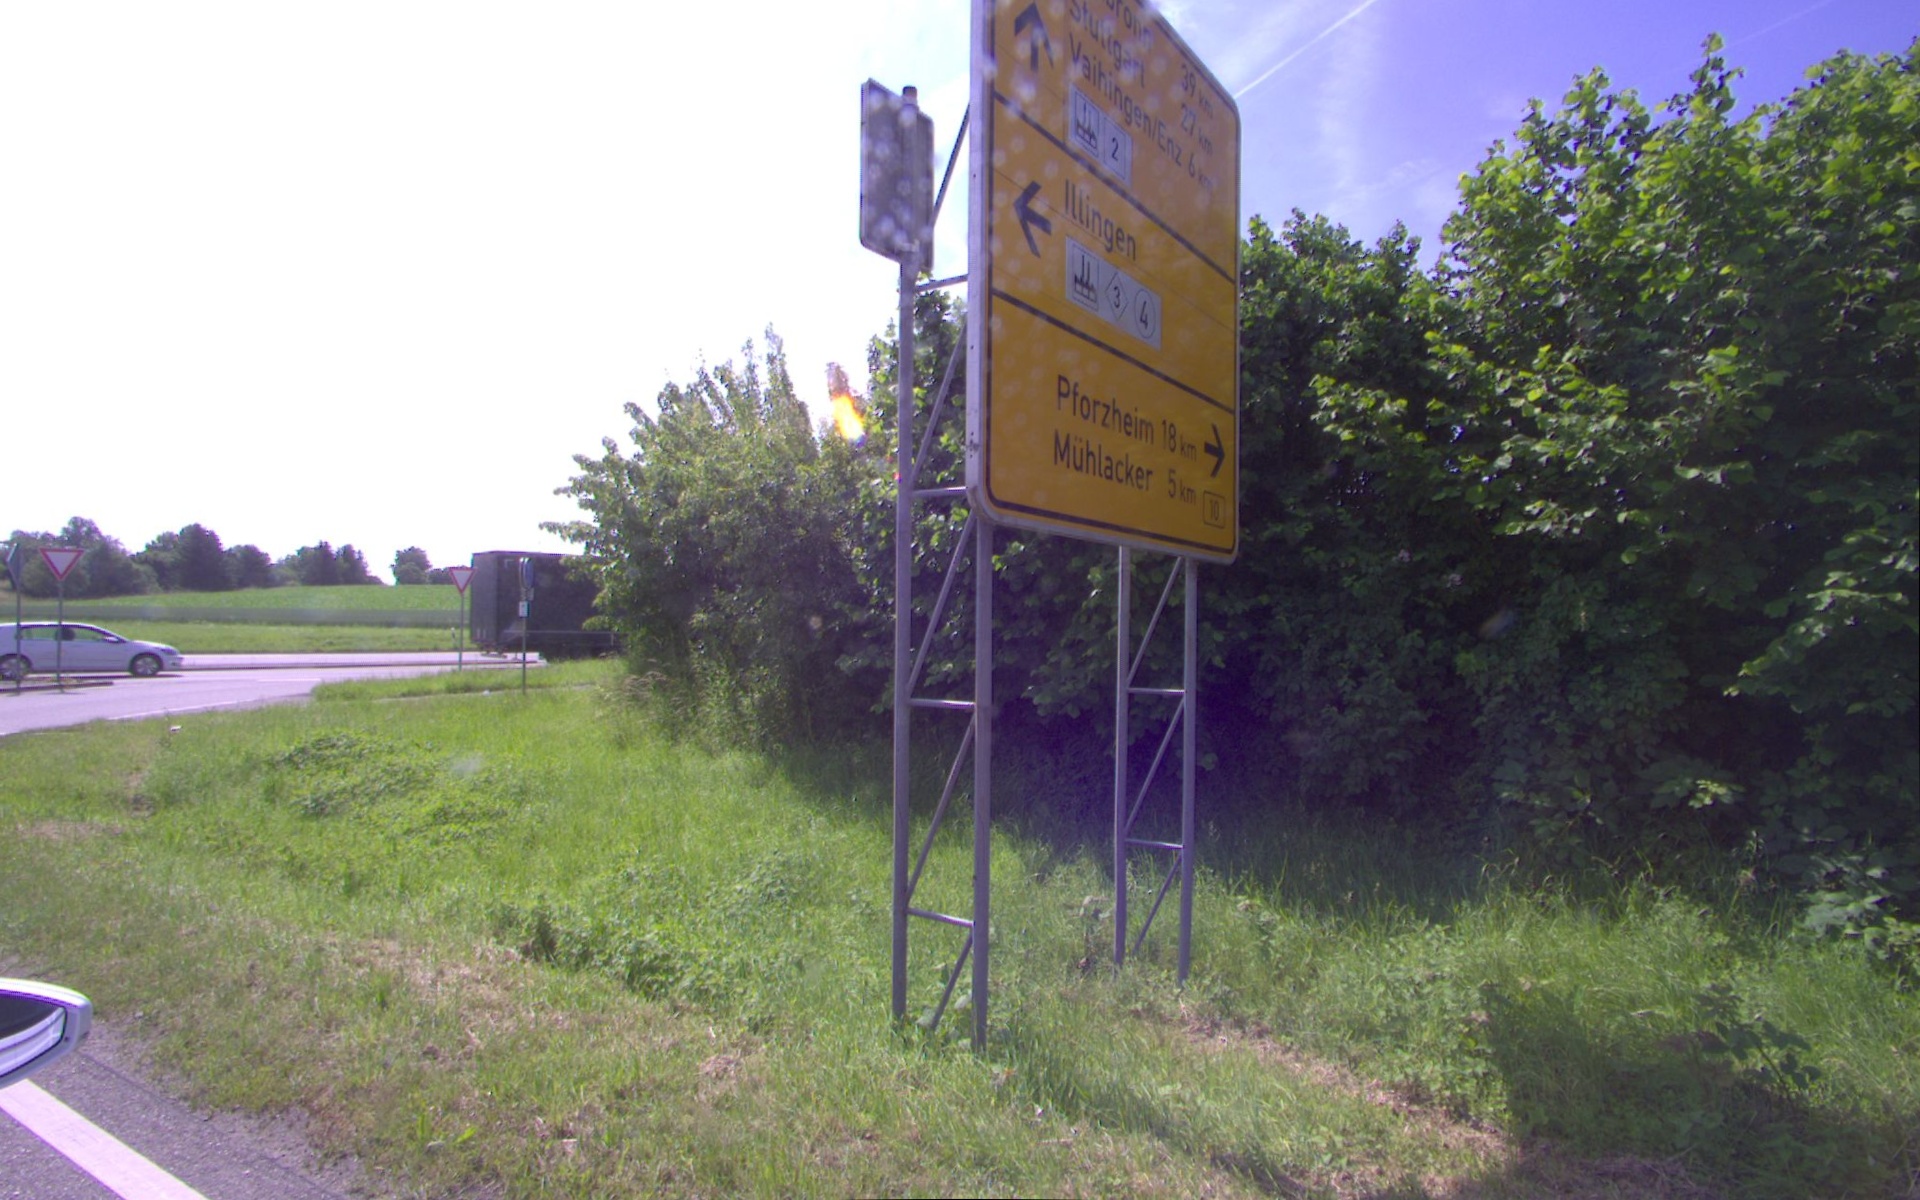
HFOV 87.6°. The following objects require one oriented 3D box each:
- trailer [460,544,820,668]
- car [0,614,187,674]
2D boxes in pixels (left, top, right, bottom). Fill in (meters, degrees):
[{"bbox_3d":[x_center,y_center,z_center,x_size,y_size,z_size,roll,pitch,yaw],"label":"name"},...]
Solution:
[{"bbox_3d":[-11.781,0.414,39.035,13.602,4.114,2.770,2,-1,-45],"label":"trailer"},{"bbox_3d":[-23.496,1.149,26.816,1.791,1.480,4.222,1,-1,44],"label":"car"}]
